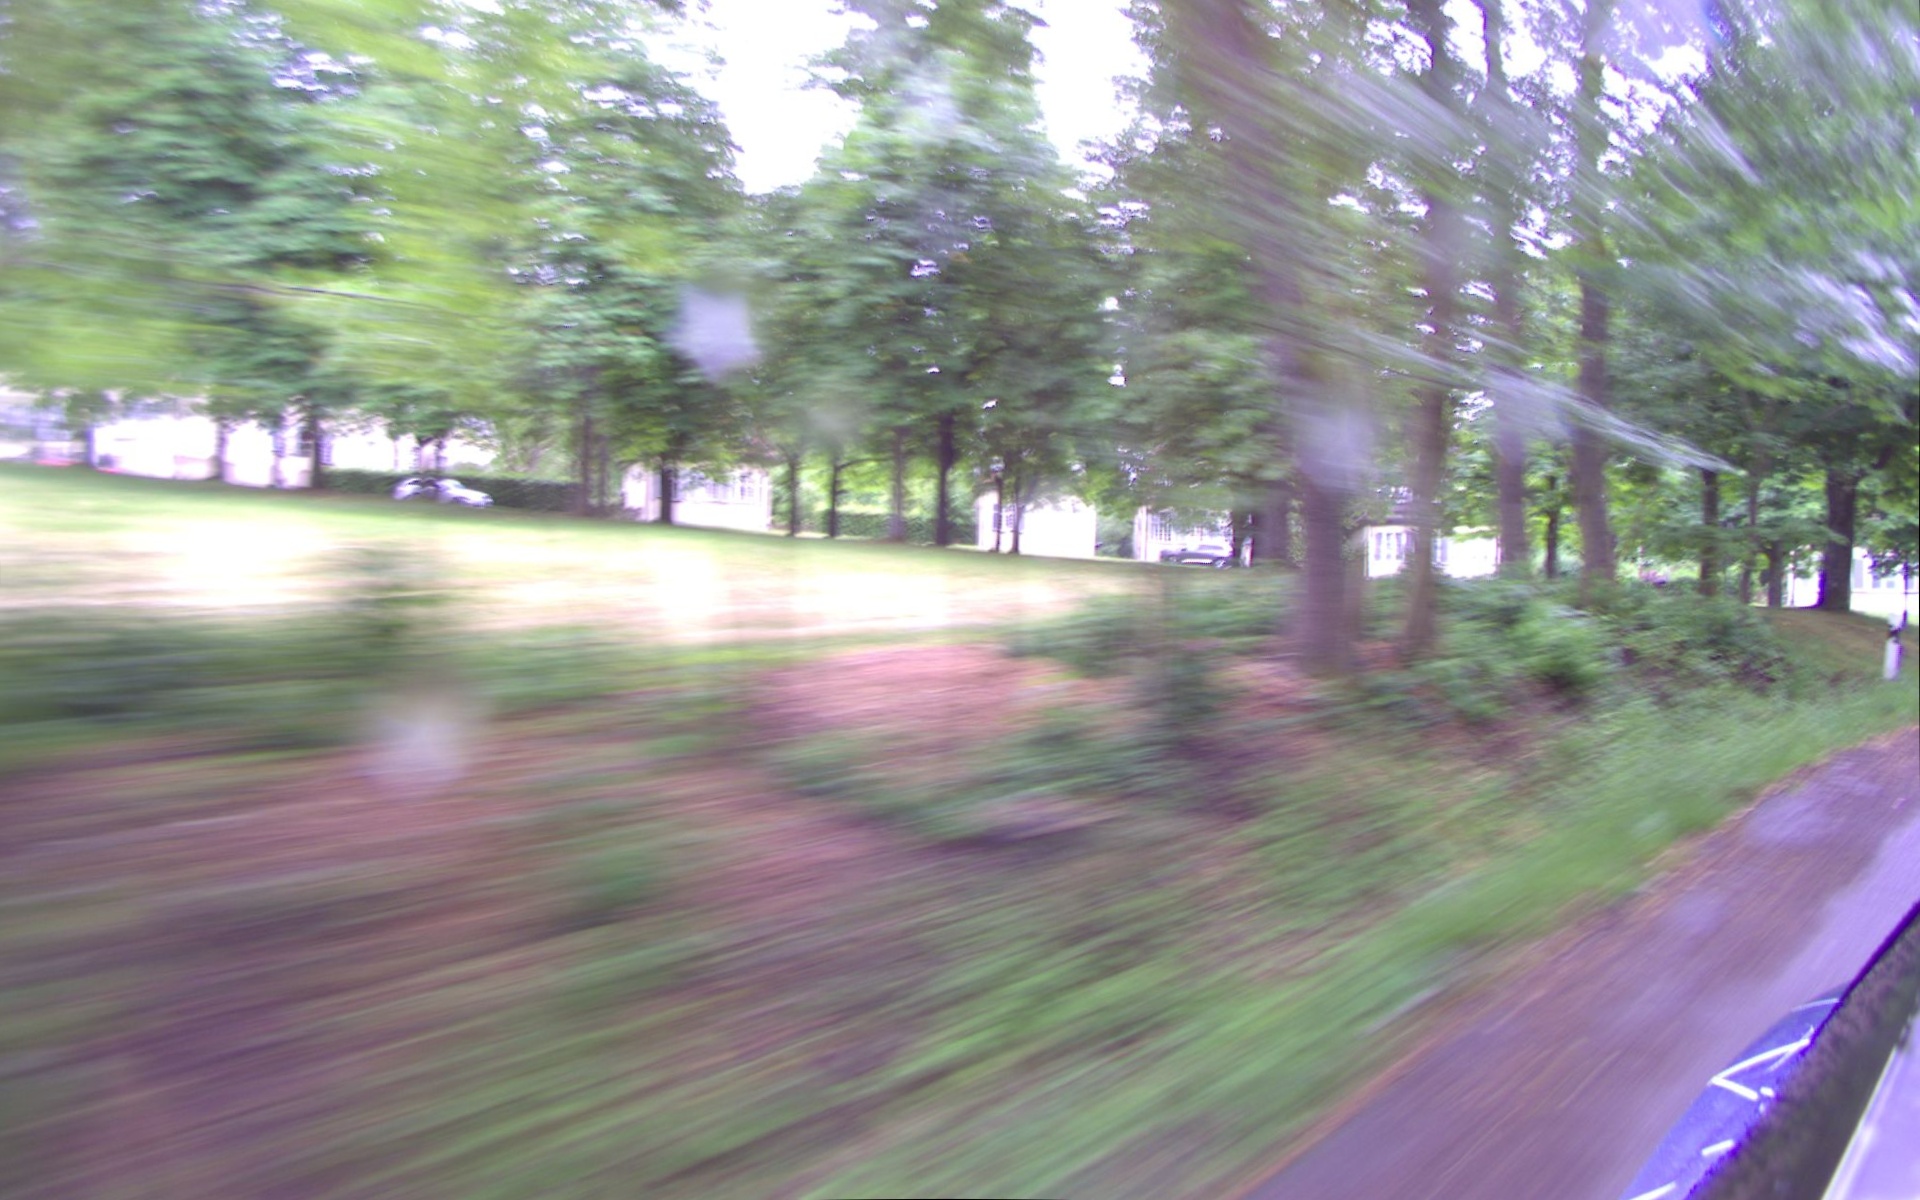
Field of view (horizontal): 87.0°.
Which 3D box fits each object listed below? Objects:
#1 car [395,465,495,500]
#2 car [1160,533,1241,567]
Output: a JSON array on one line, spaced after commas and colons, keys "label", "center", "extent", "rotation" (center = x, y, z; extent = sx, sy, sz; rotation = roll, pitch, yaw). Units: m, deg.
[{"label": "car", "center": [-26.732, -6.103, 52.564], "extent": [4.223, 1.445, 1.997], "rotation": [4, 4, 7]}, {"label": "car", "center": [14.672, -3.046, 61.919], "extent": [4.485, 1.858, 1.998], "rotation": [3, 1, 4]}]
